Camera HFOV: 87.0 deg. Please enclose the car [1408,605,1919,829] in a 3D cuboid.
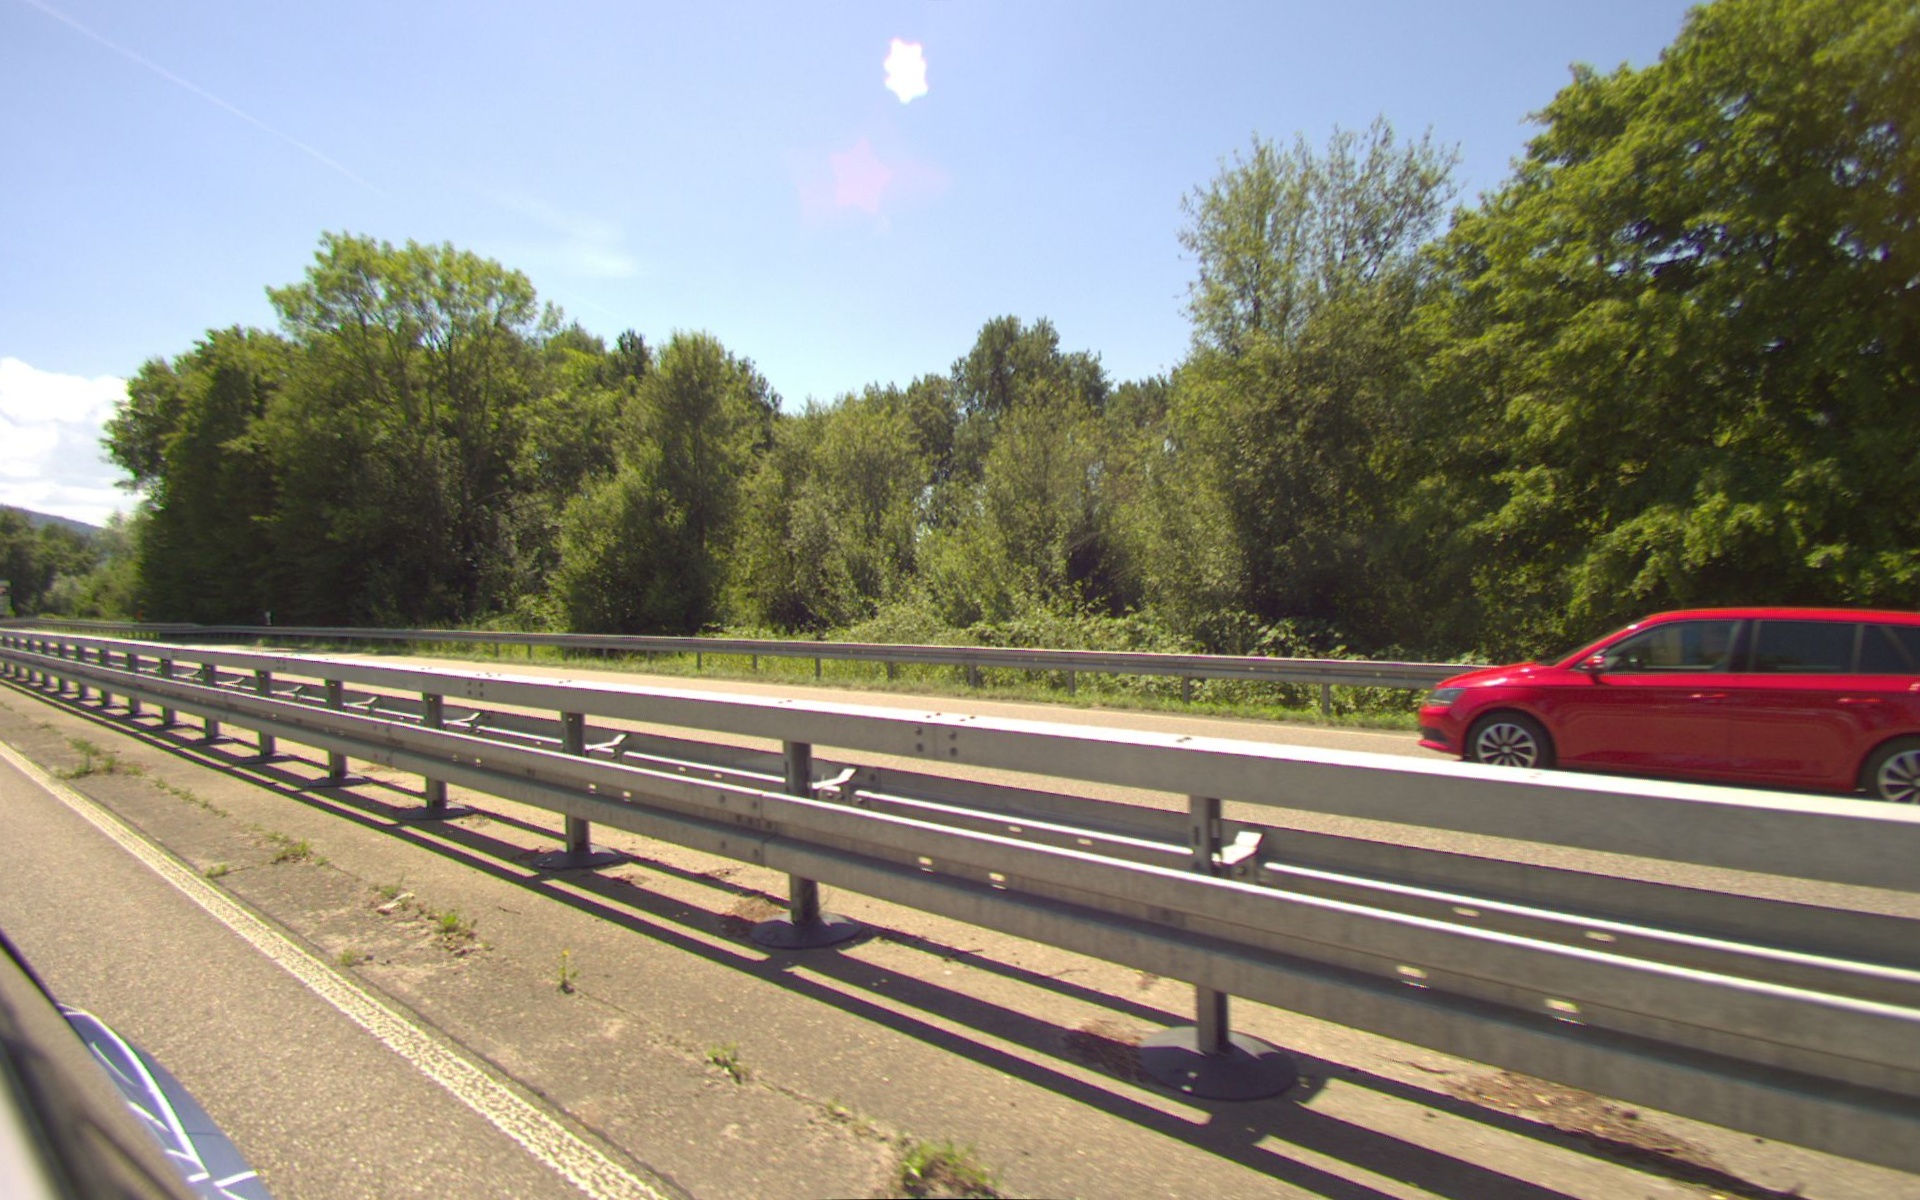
[{"bbox_3d":[6.065,0.761,7.674,4.572,1.430,1.757,-1,-1,41],"label":"car"}]
